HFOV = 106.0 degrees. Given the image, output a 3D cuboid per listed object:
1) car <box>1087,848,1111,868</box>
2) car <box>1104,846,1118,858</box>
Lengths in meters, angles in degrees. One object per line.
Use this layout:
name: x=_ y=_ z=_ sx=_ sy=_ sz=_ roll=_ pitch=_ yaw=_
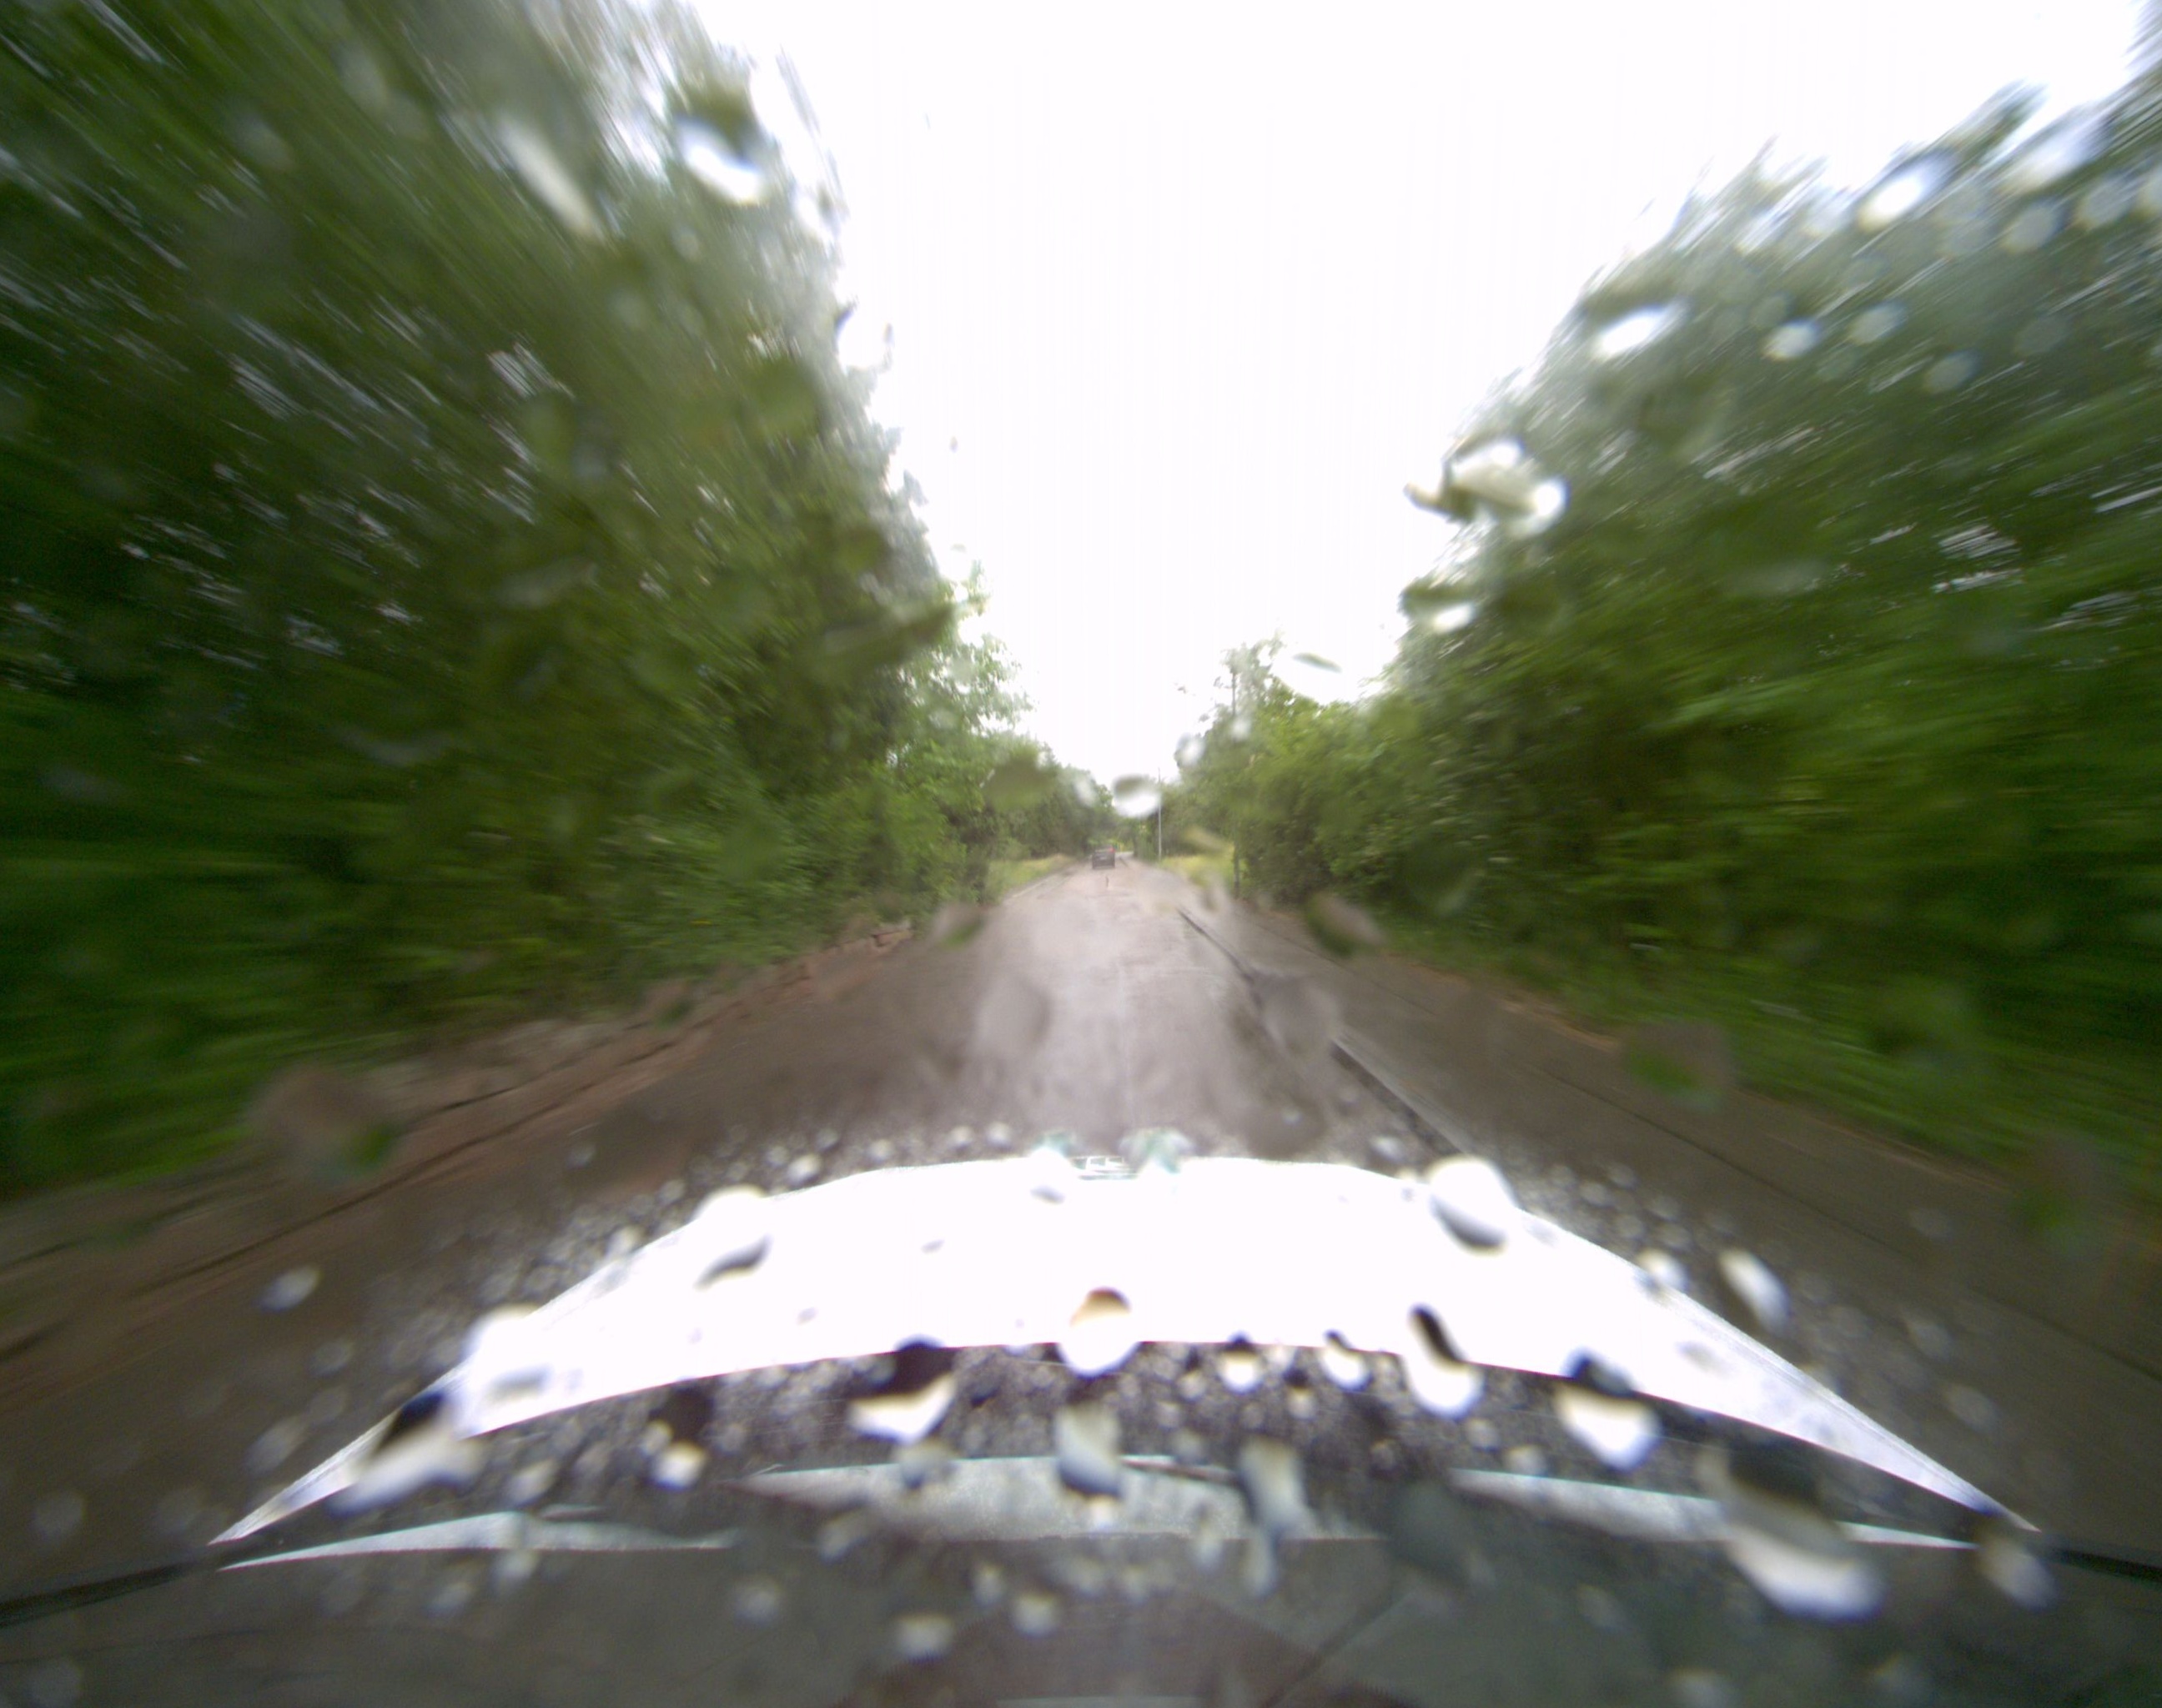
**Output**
car: x=1.420 y=0.301 z=61.992 sx=1.627 sy=1.450 sz=3.548 roll=-1 pitch=-1 yaw=4
car: x=3.826 y=-0.284 z=103.468 sx=1.627 sy=1.414 sz=3.548 roll=-1 pitch=-1 yaw=4
